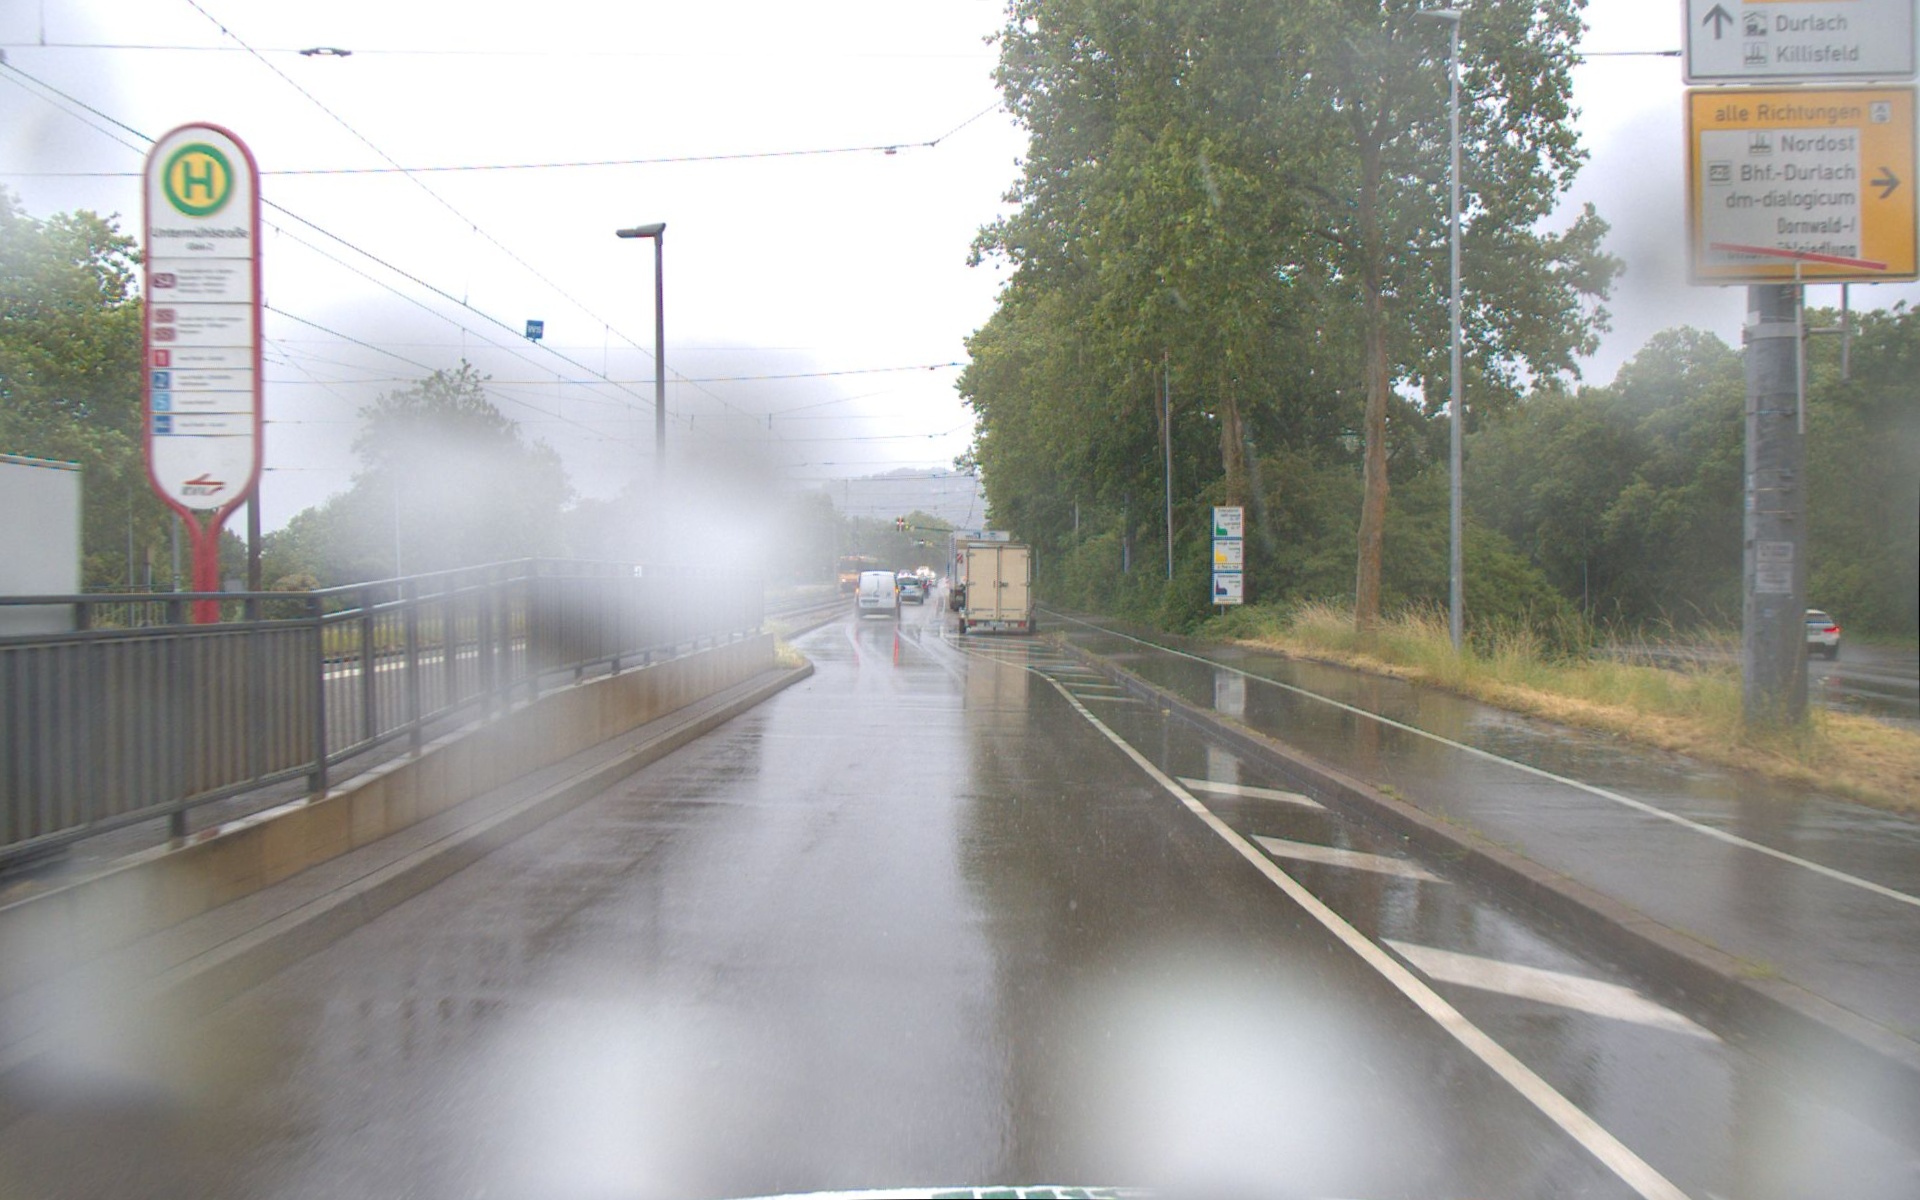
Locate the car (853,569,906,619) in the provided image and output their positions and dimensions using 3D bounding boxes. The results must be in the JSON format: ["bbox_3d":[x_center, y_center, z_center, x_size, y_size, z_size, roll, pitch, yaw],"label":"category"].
[{"bbox_3d":[-3.141,-0.242,63.776,1.954,1.881,3.997,0,1,-4],"label":"car"}]

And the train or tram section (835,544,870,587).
[{"bbox_3d":[-11.017,-3.479,170.182,2.749,4.222,13.019,0,1,0],"label":"train or tram section"}]

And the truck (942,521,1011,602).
[{"bbox_3d":[0.707,-1.817,81.858,2.720,3.769,9.845,0,0,-4],"label":"truck"}]

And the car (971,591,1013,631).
[{"bbox_3d":[1.346,0.445,68.504,1.678,1.555,4.001,0,1,2],"label":"car"}]

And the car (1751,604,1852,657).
[{"bbox_3d":[25.135,0.872,49.541,1.848,1.456,4.003,0,1,14],"label":"car"}]

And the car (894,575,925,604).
[{"bbox_3d":[-2.922,-0.596,96.345,1.750,1.671,3.967,0,0,-1],"label":"car"}]

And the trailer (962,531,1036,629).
[{"bbox_3d":[1.224,-0.593,50.533,2.121,2.805,5.678,0,0,2],"label":"trailer"}]
